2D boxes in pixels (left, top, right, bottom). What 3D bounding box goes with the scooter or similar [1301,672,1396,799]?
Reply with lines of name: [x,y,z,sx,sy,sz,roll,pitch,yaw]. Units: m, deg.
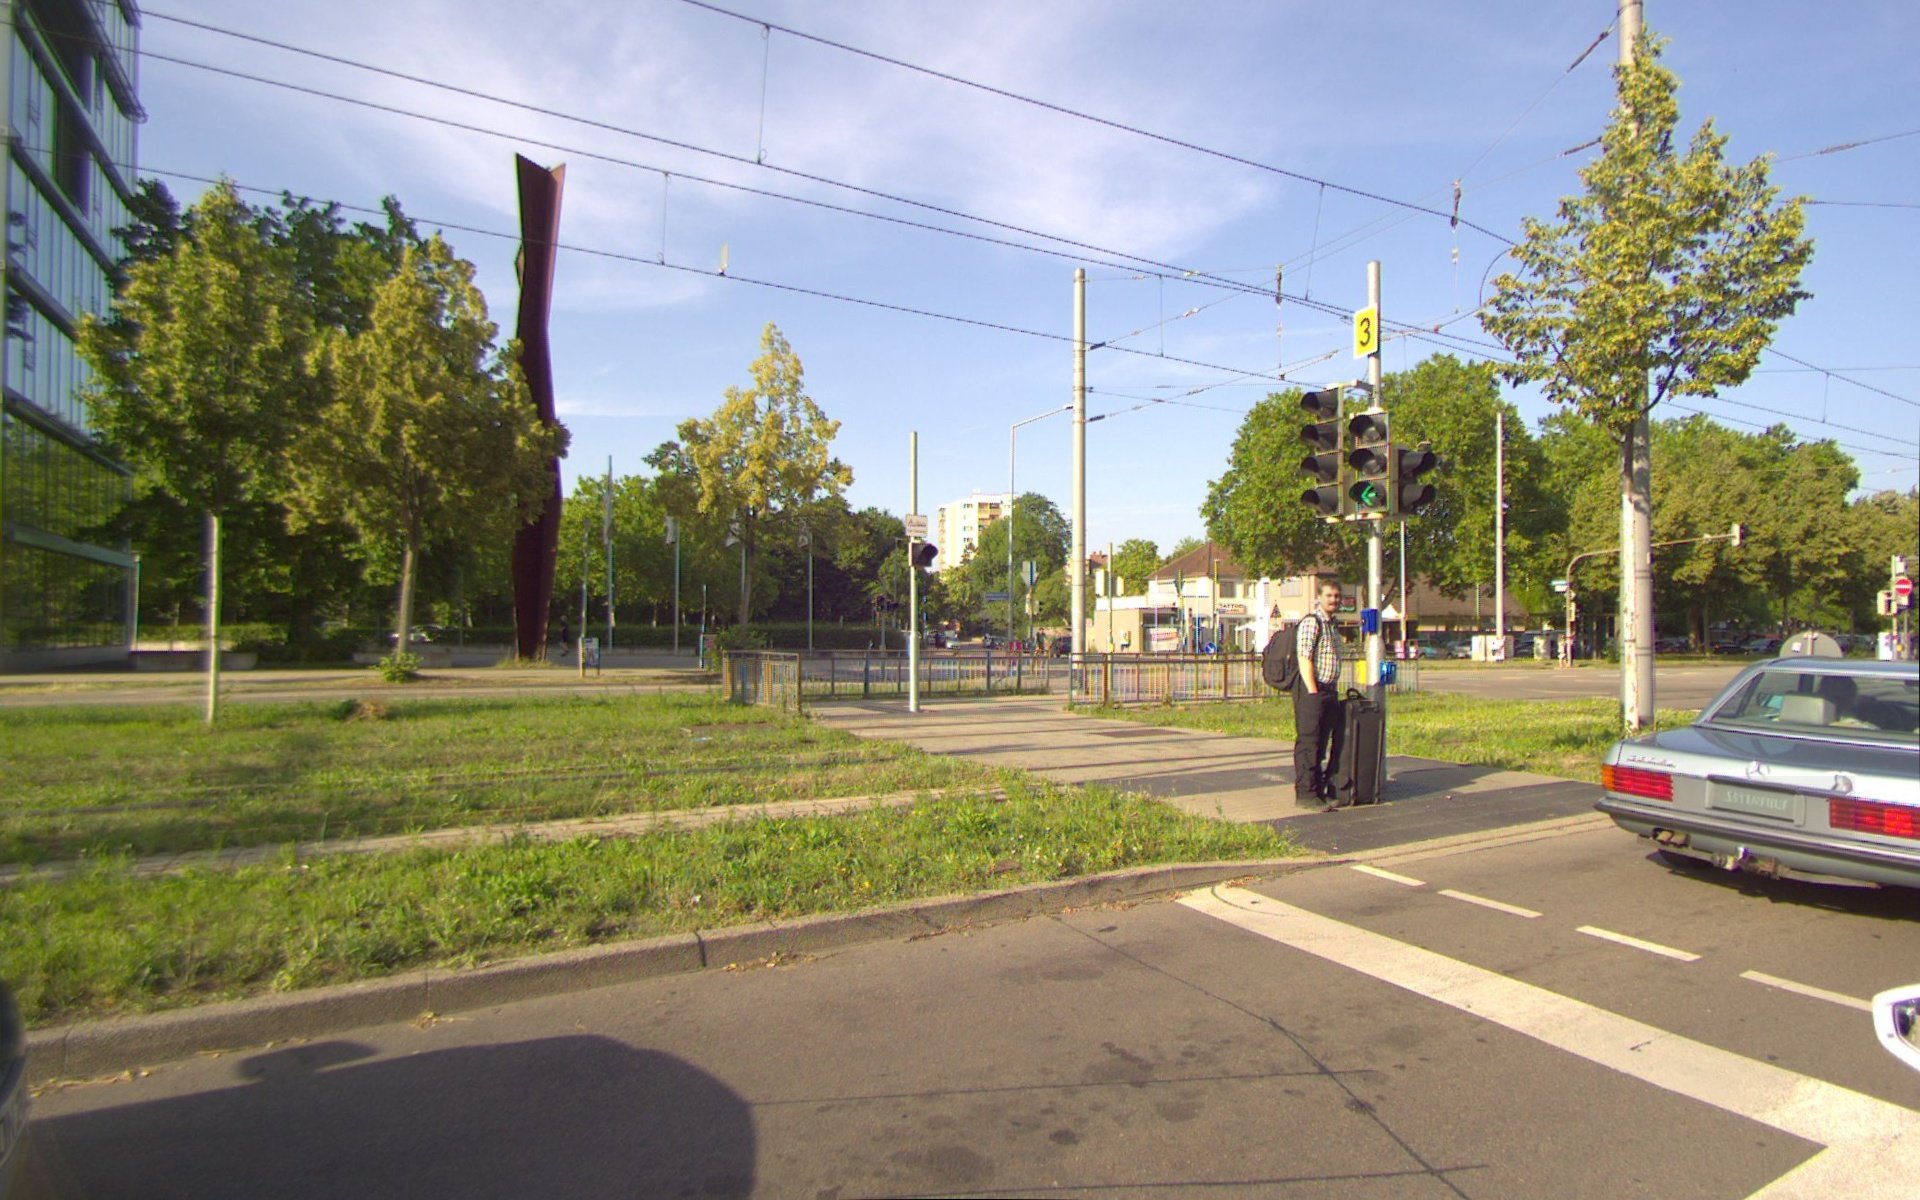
scooter or similar: [3.077,1.050,7.968,0.424,0.919,0.546,1,0,-29]

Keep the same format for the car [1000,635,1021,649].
car: [5.580,4.693,111.826,1.667,1.491,3.941,0,-2,-8]

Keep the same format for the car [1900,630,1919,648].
car: [87.801,3.578,91.465,3.945,1.580,1.876,1,-2,-25]

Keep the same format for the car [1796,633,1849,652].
car: [72.116,3.553,83.979,3.945,1.580,1.876,1,-2,-25]

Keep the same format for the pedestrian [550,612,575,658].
pedestrian: [-18.682,1.656,47.239,0.864,2.135,0.724,-1,-3,-1]

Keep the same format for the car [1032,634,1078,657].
car: [7.452,3.552,79.241,1.971,1.750,3.979,1,-2,-22]

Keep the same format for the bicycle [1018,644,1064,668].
bicycle: [3.846,2.644,47.729,2.168,1.055,0.697,-1,-2,38]

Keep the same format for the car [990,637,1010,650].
car: [4.666,5.098,117.655,1.667,1.491,3.941,0,-2,-8]

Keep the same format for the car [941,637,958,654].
car: [-1.214,5.121,113.558,1.961,1.806,4.000,0,-2,-1]

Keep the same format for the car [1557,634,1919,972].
car: [5.624,0.923,5.950,4.349,1.348,1.754,1,0,-31]

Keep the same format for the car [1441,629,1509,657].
car: [33.433,2.765,65.207,3.945,1.773,1.876,1,-2,-25]

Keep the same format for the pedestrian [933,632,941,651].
pedestrian: [-2.061,3.683,89.870,0.654,1.654,0.664,0,-1,-2]

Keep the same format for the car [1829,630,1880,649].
car: [76.688,3.351,86.088,3.945,1.580,1.876,1,-2,-25]

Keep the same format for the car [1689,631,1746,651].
car: [58.619,3.171,77.725,3.945,1.580,1.876,1,-2,-25]

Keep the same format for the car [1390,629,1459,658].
car: [29.208,2.713,63.132,3.945,1.773,1.876,1,-2,-25]

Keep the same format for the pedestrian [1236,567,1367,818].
pedestrian: [2.613,0.673,7.718,0.628,1.816,0.696,1,0,-29]

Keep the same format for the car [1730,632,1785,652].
car: [63.603,3.318,80.082,3.945,1.580,1.876,1,-2,-25]

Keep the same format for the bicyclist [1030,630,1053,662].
bicyclist: [3.860,2.168,47.732,0.836,1.512,0.697,-1,-2,38]

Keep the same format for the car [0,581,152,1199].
car: [-3.640,0.692,0.875,4.300,1.498,1.779,1,0,-29]

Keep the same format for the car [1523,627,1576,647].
car: [47.871,3.040,81.572,3.945,1.580,1.876,1,-2,-25]

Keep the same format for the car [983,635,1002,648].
car: [3.960,5.056,123.444,1.667,1.491,3.941,0,-2,-8]

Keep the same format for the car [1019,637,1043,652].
car: [7.052,4.446,100.313,1.667,1.491,3.941,0,-2,-8]

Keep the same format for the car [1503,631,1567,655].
car: [38.819,2.928,67.821,3.945,1.580,1.876,1,-2,-25]
